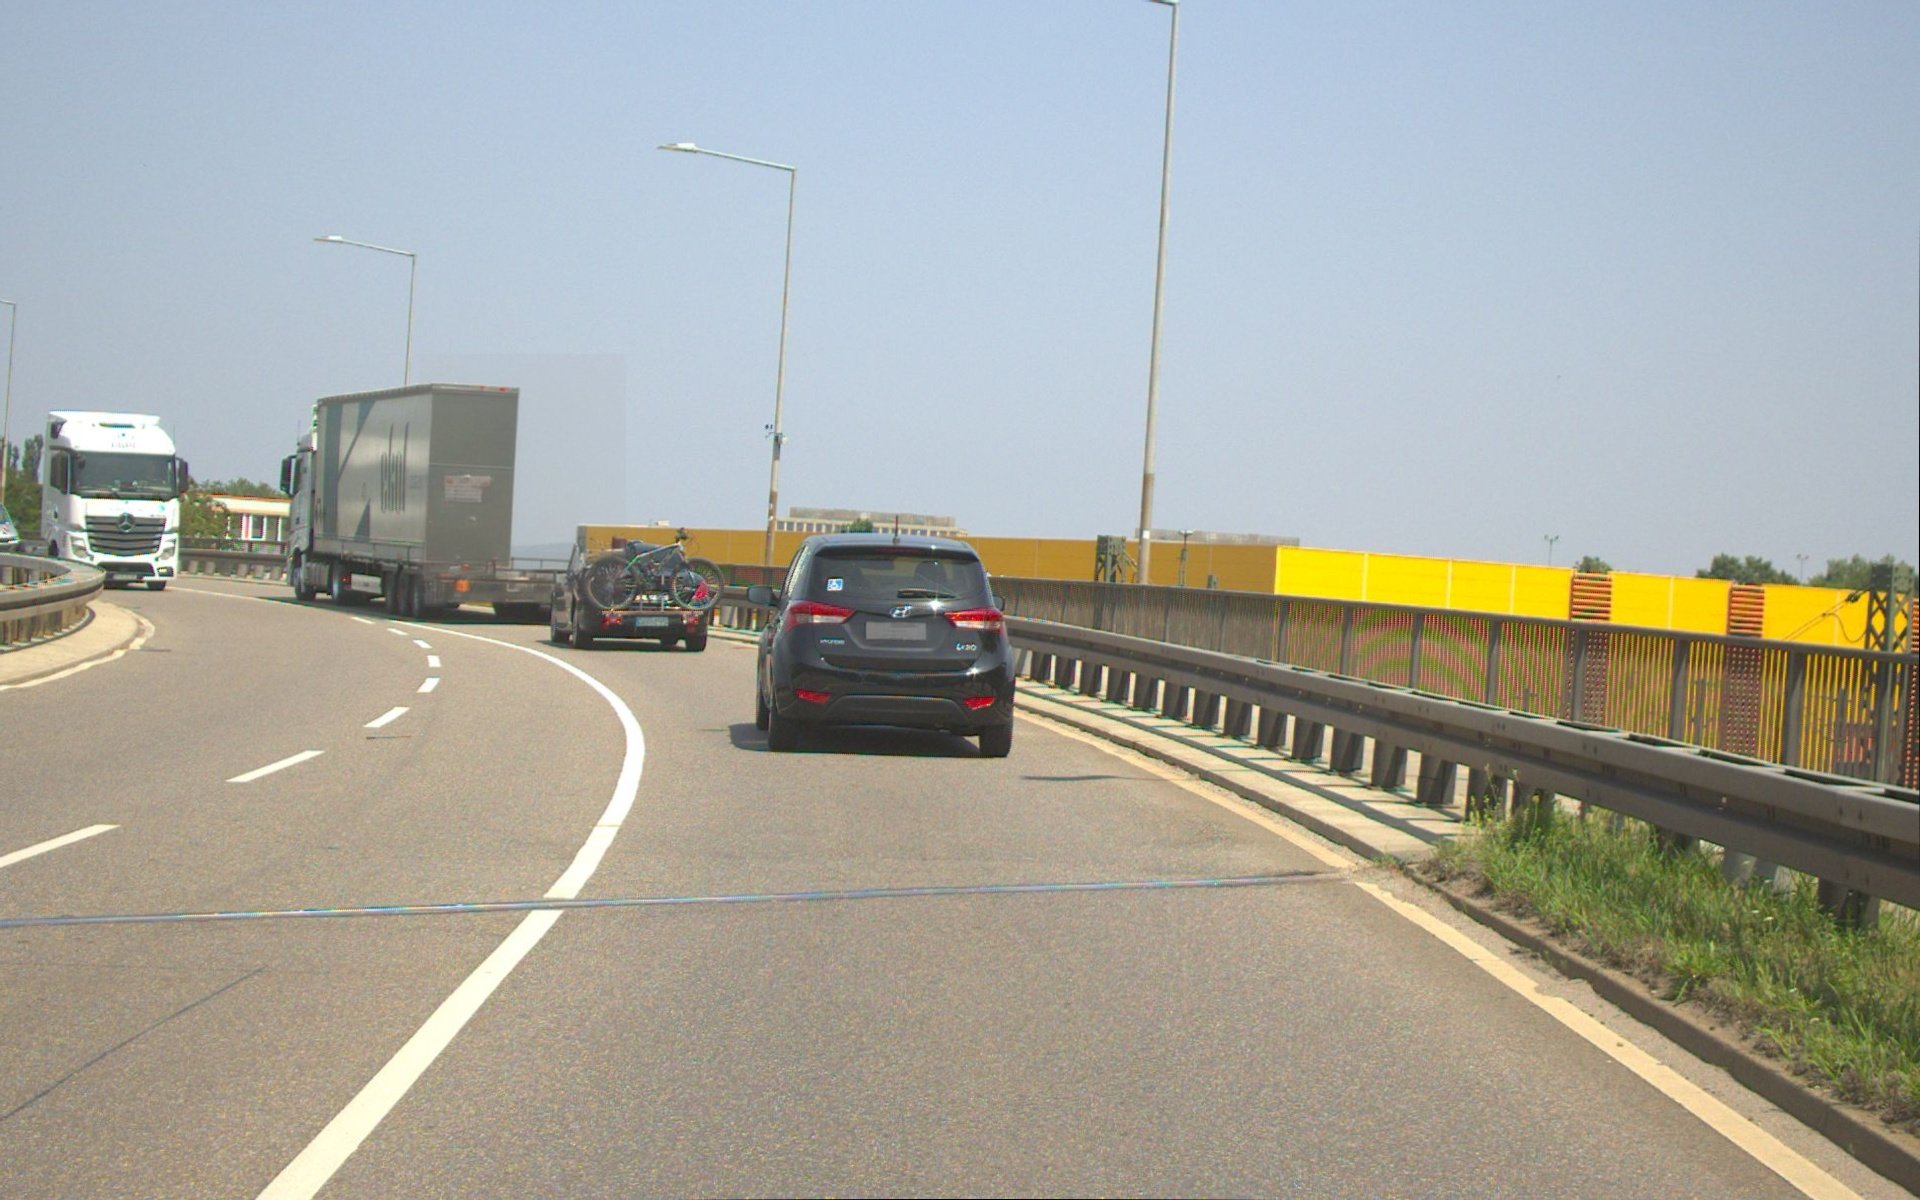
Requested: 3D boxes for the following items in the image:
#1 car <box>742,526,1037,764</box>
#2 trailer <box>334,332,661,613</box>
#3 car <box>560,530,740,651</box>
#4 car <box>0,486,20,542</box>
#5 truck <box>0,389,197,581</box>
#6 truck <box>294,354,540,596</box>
[{"bbox_3d":[-0.614,0.277,26.073,1.921,1.568,3.892,3,1,-5],"label":"car"},{"bbox_3d":[-8.494,-2.254,61.377,3.568,4.369,11.445,3,1,-18],"label":"trailer"},{"bbox_3d":[-4.174,-0.156,45.819,2.011,1.424,3.778,3,1,-10],"label":"car"},{"bbox_3d":[-25.135,-2.254,87.239,1.559,1.381,3.616,2,1,-30],"label":"car"},{"bbox_3d":[-19.222,-2.574,76.447,2.705,3.978,6.187,2,1,-28],"label":"truck"},{"bbox_3d":[-10.911,-2.475,68.554,3.571,4.425,6.517,3,1,-19],"label":"truck"}]
